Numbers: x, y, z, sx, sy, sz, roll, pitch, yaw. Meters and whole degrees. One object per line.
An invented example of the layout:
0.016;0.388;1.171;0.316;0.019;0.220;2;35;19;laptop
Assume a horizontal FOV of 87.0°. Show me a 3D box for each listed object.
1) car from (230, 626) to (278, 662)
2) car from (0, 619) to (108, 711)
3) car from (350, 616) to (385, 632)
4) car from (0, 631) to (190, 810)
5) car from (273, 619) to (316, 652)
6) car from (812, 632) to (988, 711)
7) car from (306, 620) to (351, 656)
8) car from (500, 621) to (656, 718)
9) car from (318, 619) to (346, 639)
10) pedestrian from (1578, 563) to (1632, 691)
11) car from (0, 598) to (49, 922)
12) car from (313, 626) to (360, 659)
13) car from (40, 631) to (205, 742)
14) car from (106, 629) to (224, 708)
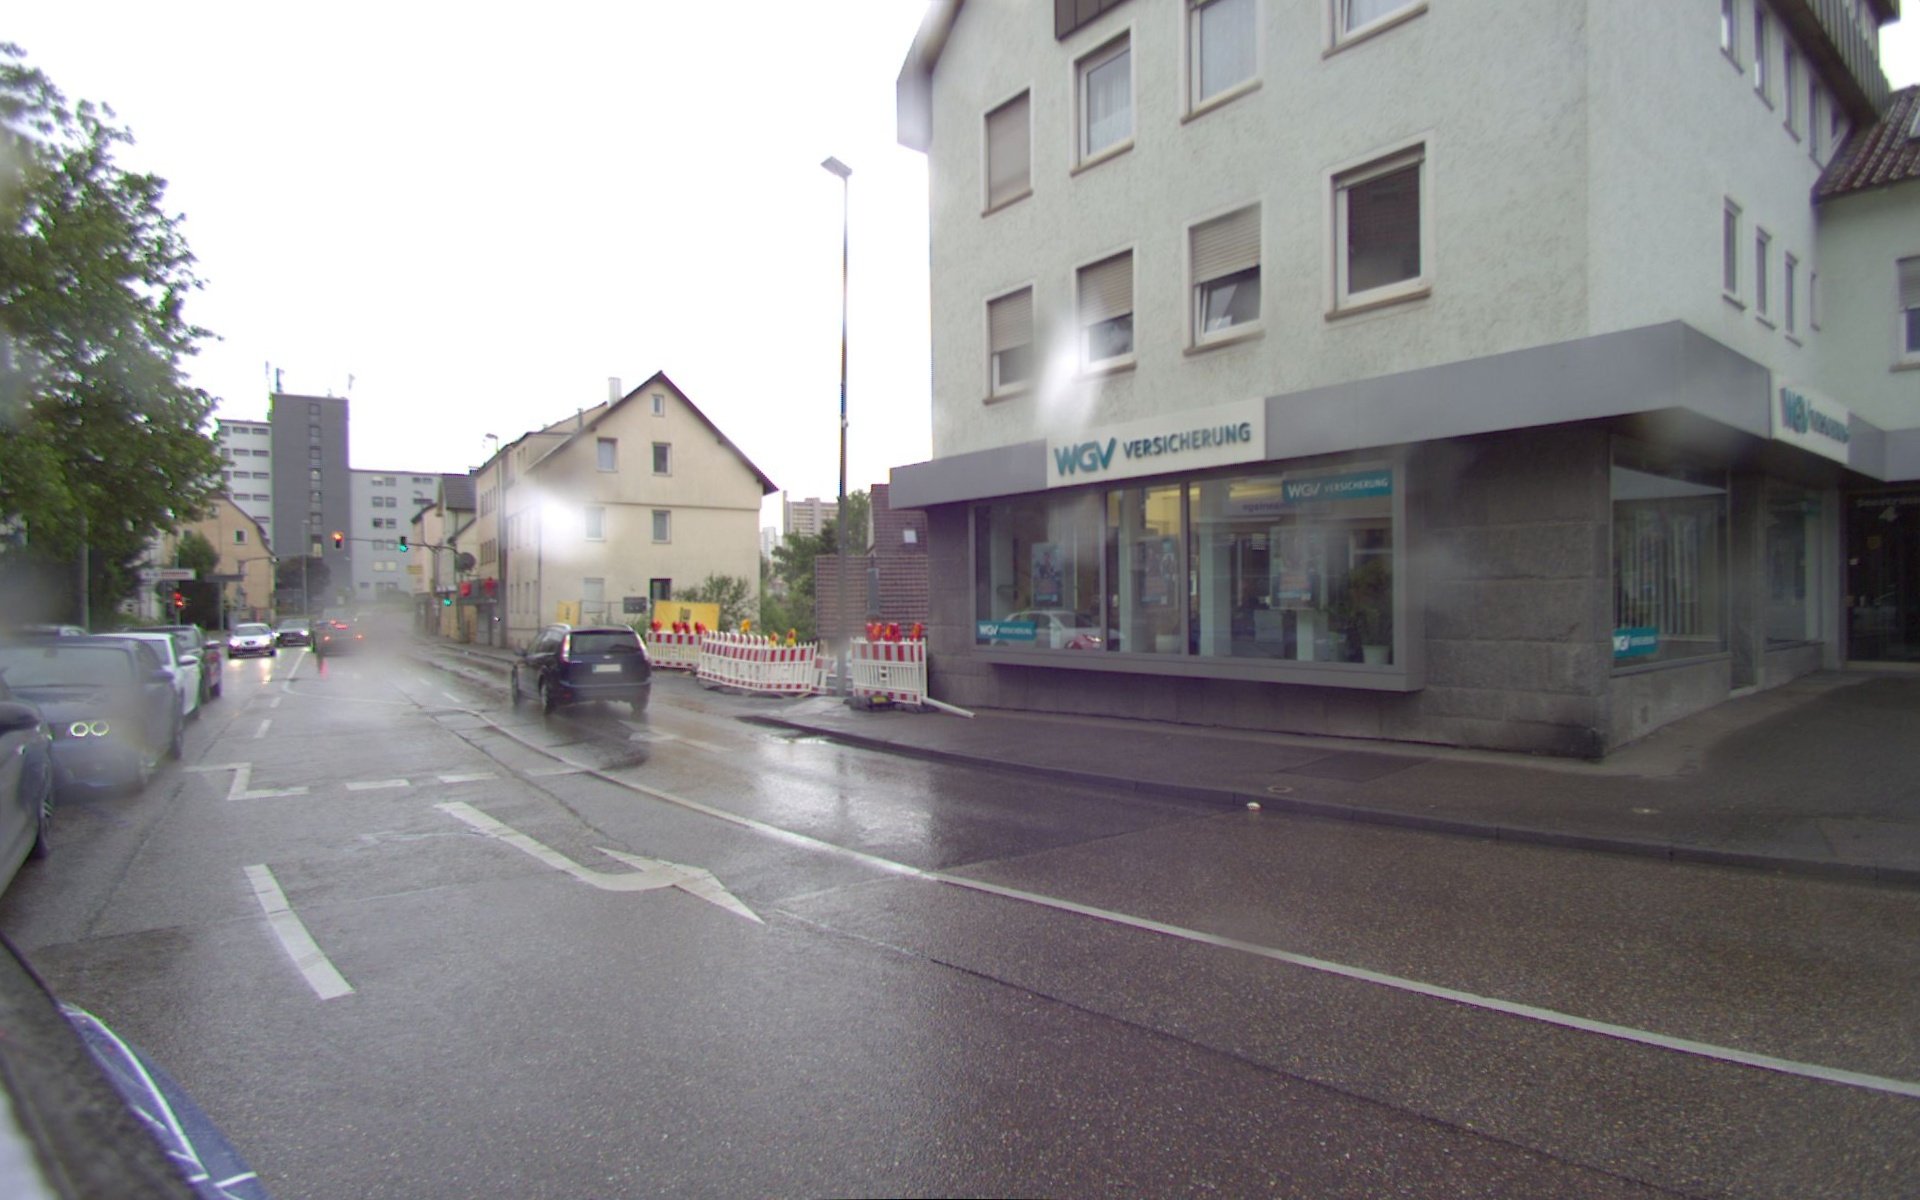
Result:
-32.825;2.028;47.124;1.589;1.515;3.728;-2;0;-32;car
-20.079;1.339;21.750;1.904;1.794;4.748;0;-2;-30;car
-61.097;2.484;104.379;1.714;1.577;3.841;-1;-1;-6;car
-8.735;1.029;9.889;1.615;1.443;3.816;1;-2;-33;car
-40.602;2.138;61.814;1.763;1.866;3.848;-1;-1;-28;car
-1.247;1.584;21.827;3.456;1.401;1.653;10;-9;-41;car
-32.021;1.909;51.247;1.791;1.657;4.287;-1;-1;-34;car
-6.962;1.171;18.186;1.708;1.522;4.284;1;-2;-34;car
-52.554;2.377;84.706;1.763;1.577;3.847;-1;-1;-29;car
7.887;0.324;12.380;0.352;1.519;0.426;-2;-1;-41;pedestrian
-5.684;0.809;4.743;1.792;1.583;4.284;-1;-1;-38;car
-28.305;1.910;45.921;1.684;1.394;3.679;-1;-1;-33;car
-12.812;1.224;15.689;1.660;1.432;4.010;-1;-1;-35;car
-16.878;1.383;21.650;1.659;1.472;4.011;-1;-1;-34;car
